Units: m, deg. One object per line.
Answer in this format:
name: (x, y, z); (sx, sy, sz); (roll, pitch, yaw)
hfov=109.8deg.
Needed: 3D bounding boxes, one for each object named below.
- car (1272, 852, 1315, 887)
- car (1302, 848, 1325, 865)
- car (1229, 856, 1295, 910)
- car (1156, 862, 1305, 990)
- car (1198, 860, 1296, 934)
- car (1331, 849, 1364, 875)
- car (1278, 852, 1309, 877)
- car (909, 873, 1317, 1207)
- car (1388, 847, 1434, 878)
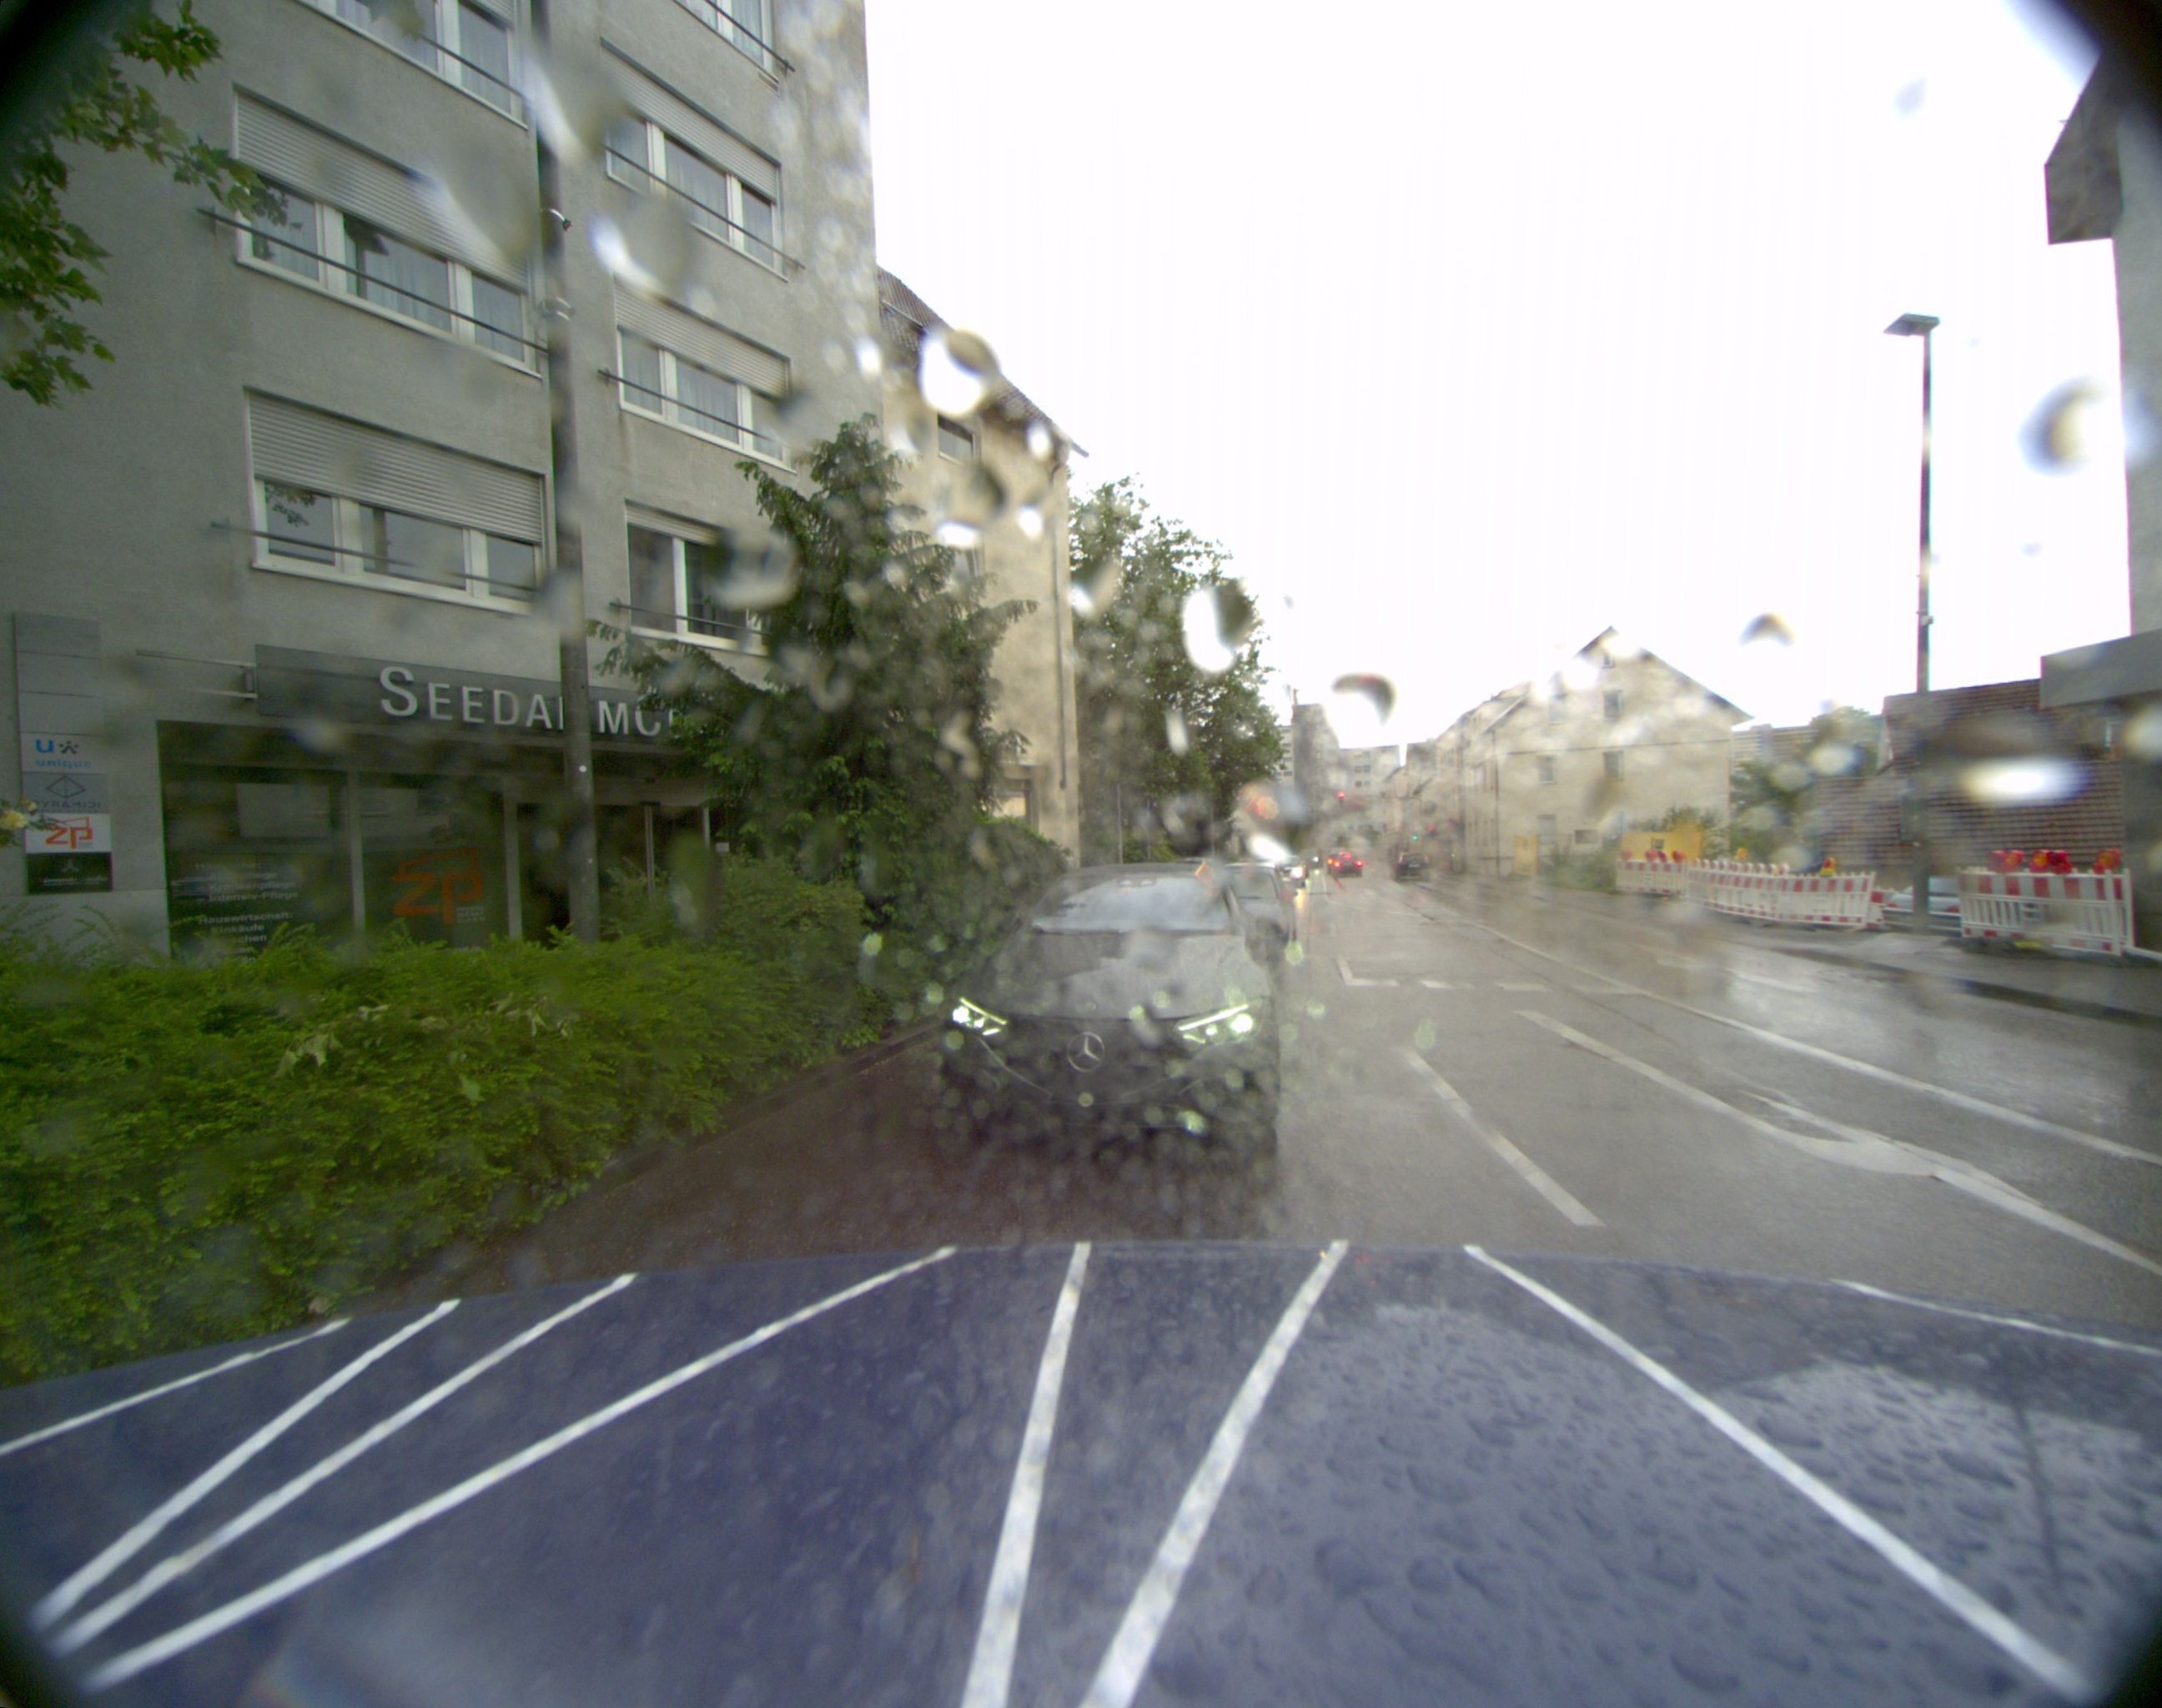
car: (10.824, 0.744, 38.906); (1.843, 1.612, 4.004); (-2, 0, 12)
car: (22.422, 0.225, 73.473); (1.851, 1.469, 4.004); (-2, 0, 14)
car: (6.024, 0.895, 25.017); (1.811, 1.556, 4.005); (-2, 0, 17)
car: (2.503, 0.954, 11.808); (1.771, 1.523, 4.383); (-2, 0, 17)
car: (4.054, 0.955, 18.357); (1.996, 1.444, 4.004); (-3, 0, 14)
car: (17.312, 0.503, 49.464); (1.811, 1.556, 4.005); (-2, 0, 17)
car: (14.515, 0.691, 51.817); (1.830, 1.542, 4.005); (-4, -1, 16)
car: (0.471, 0.990, 5.939); (1.997, 1.484, 4.317); (-2, 0, 9)
car: (18.001, 0.450, 41.575); (1.811, 1.556, 4.005); (-2, 0, 17)
